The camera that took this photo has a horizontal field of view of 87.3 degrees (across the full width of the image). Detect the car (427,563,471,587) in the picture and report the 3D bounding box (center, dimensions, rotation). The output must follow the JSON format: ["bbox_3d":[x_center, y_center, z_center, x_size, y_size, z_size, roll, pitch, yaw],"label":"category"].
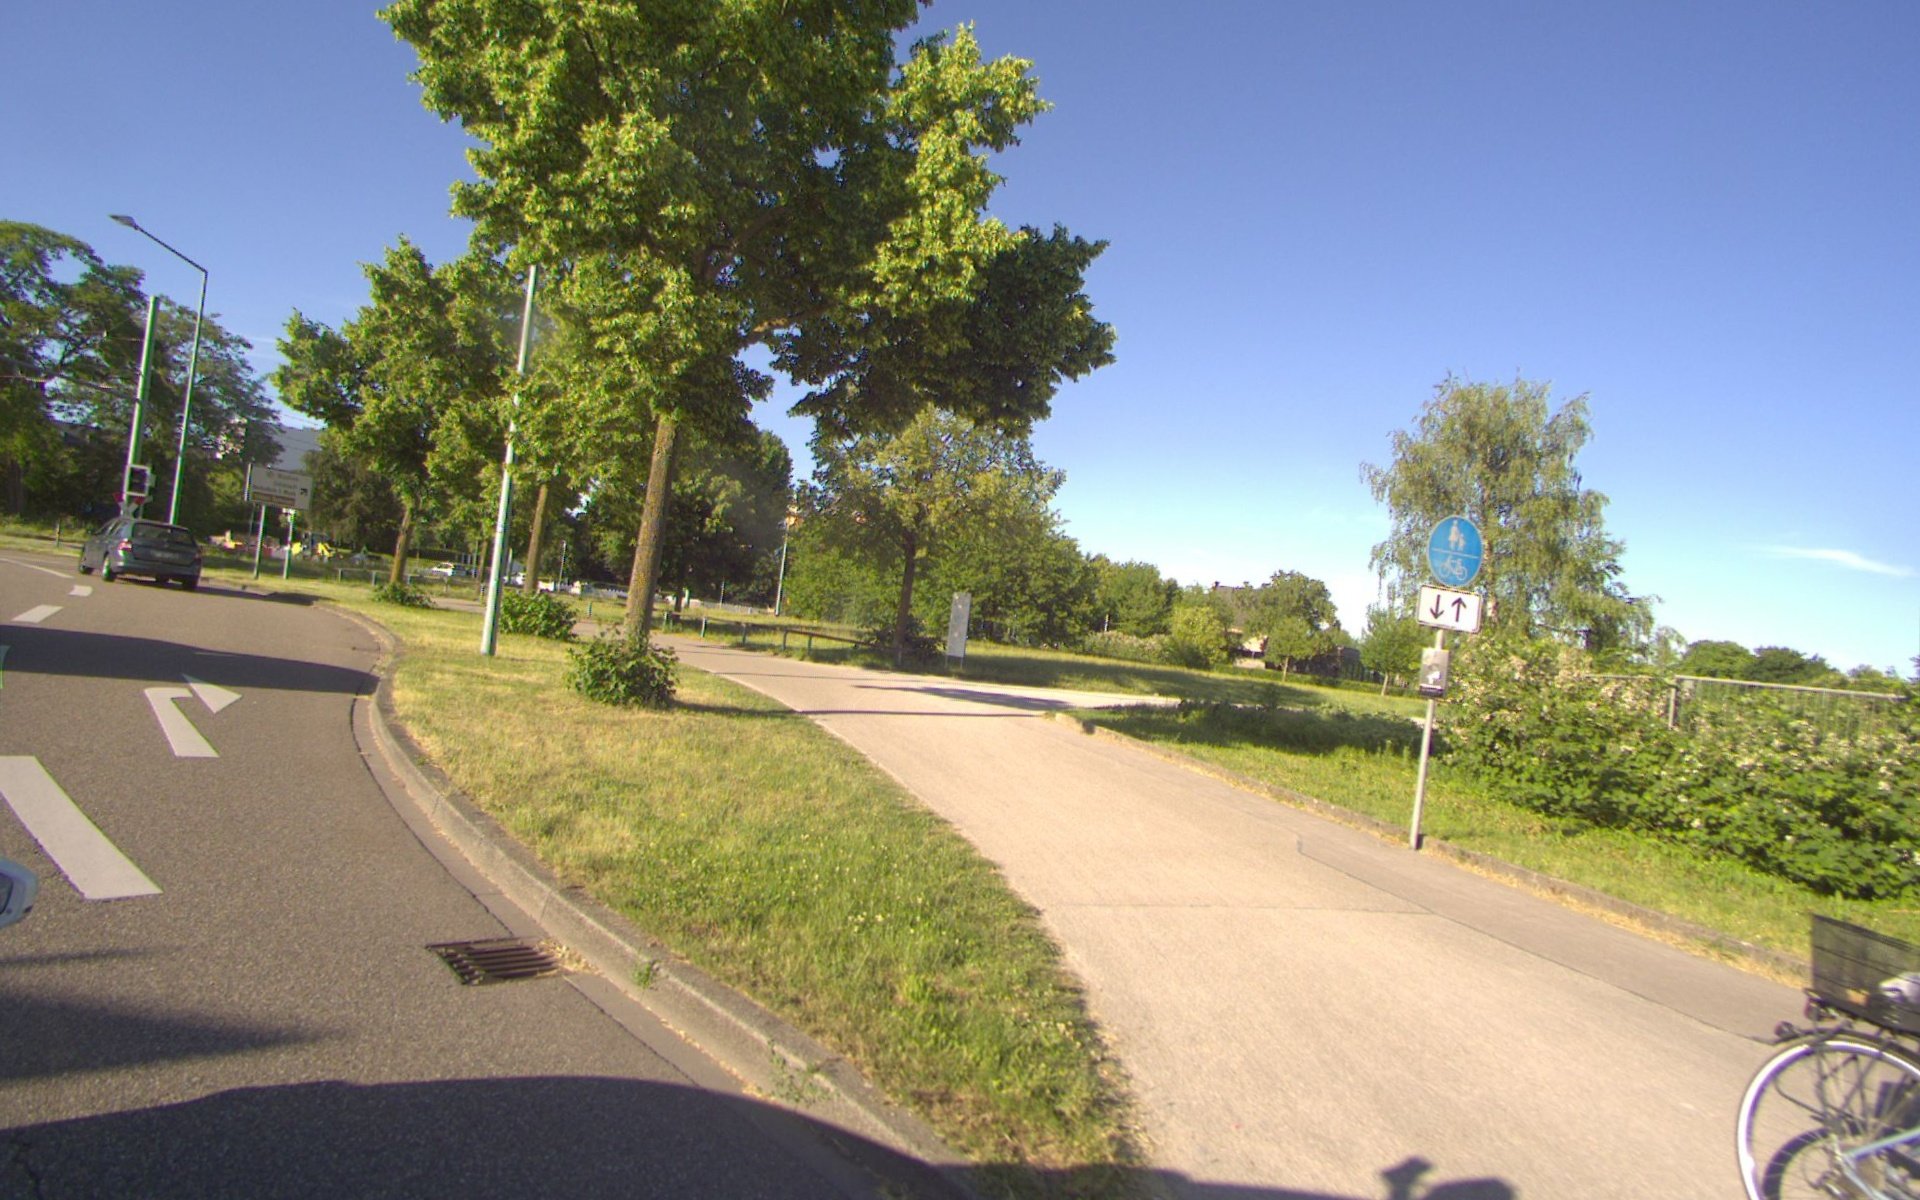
[{"bbox_3d":[-45.489,-2.196,89.516,3.944,1.742,1.994,3,-4,39],"label":"car"}]

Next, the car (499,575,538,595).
[{"bbox_3d":[-41.278,-1.411,94.066,3.755,1.573,1.826,3,-4,41],"label":"car"}]

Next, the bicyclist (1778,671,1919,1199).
[{"bbox_3d":[2.672,1.016,2.124,0.862,1.581,1.085,6,0,-12],"label":"bicyclist"}]

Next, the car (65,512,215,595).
[{"bbox_3d":[-18.980,-1.100,23.231,4.089,1.453,1.714,6,-2,38],"label":"car"}]

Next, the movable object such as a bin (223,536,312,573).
[{"bbox_3d":[-52.671,-3.433,76.605,2.203,1.969,5.017,4,-4,31],"label":"movable object such as a bin"}]

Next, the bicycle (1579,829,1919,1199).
[{"bbox_3d":[2.629,1.347,2.147,0.862,1.169,2.212,6,0,-11],"label":"bicycle"}]

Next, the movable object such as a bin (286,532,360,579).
[{"bbox_3d":[-44.742,-3.111,70.615,4.962,2.819,1.999,4,-3,29],"label":"movable object such as a bin"}]
